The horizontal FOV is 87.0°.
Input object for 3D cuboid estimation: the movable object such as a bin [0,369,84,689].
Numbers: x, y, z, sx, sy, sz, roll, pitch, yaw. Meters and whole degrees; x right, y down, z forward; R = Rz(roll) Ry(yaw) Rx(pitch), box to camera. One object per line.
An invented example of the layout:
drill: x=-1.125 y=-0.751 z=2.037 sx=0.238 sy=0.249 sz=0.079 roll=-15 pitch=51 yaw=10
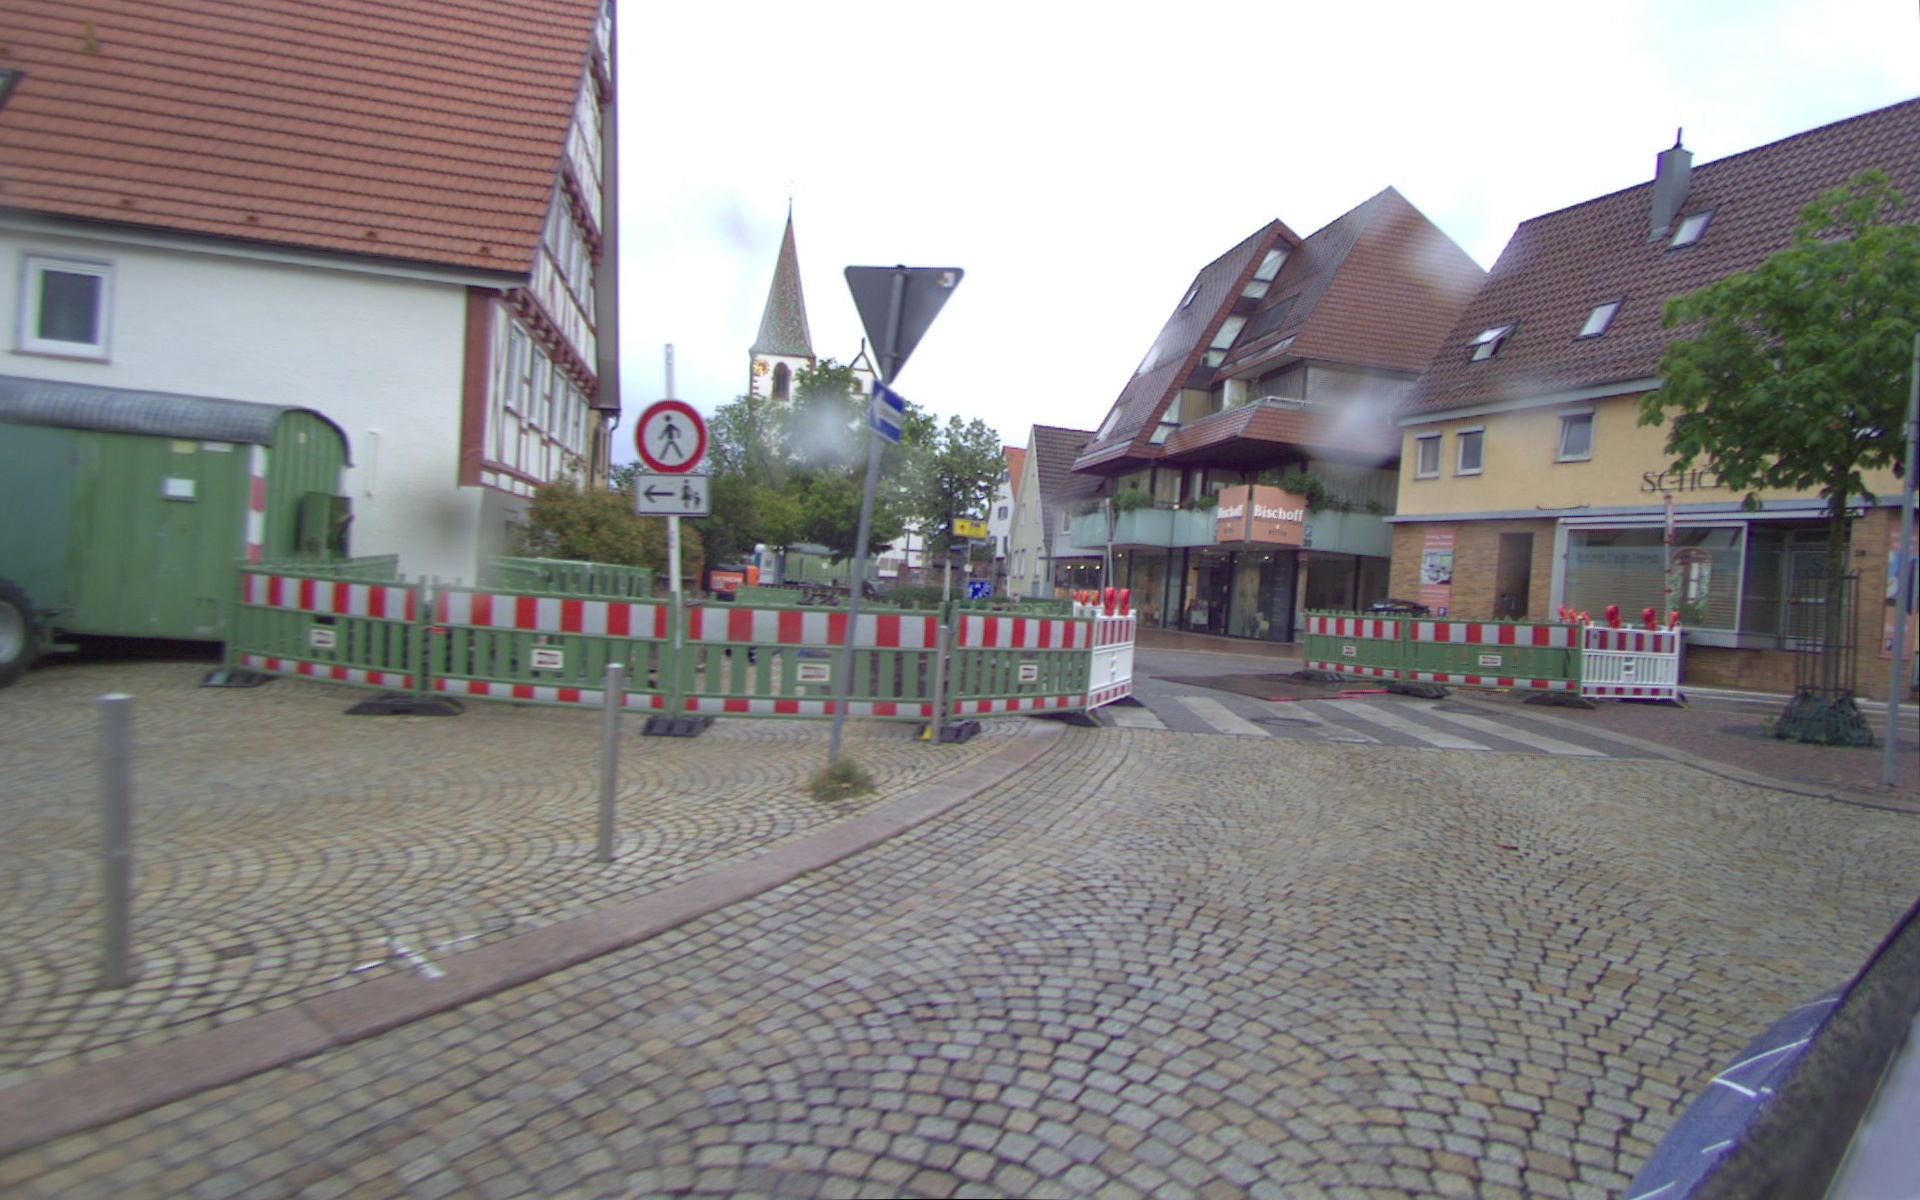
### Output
movable object such as a bin: x=-8.397 y=-0.553 z=7.082 sx=1.871 sy=2.586 sz=4.302 roll=1 pitch=2 yaw=-18

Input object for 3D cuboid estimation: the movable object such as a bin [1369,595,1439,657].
movable object such as a bin: x=11.494 y=0.657 z=26.216 sx=1.046 sy=1.531 sz=1.245 roll=1 pitch=1 yaw=-23

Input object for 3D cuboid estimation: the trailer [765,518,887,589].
trailer: x=-6.709 y=-2.263 z=51.124 sx=5.689 sy=2.985 sz=2.000 roll=5 pitch=-2 yaw=-36

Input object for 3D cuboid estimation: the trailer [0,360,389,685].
trailer: x=-8.998 y=-0.774 z=10.635 sx=4.535 sy=2.872 sz=2.497 roll=4 pitch=-1 yaw=-14

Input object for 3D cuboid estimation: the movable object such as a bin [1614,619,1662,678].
movable object such as a bin: x=13.796 y=0.974 z=20.599 sx=0.507 sy=1.142 sz=0.581 roll=0 pitch=2 yaw=-27

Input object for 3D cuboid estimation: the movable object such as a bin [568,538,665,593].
movable object such as a bin: x=-15.096 y=-1.482 z=44.422 sx=3.344 sy=2.039 sz=3.483 roll=5 pitch=-1 yaw=-29

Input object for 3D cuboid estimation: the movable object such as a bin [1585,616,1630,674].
movable object such as a bin: x=13.522 y=0.935 z=21.144 sx=0.507 sy=1.147 sz=0.581 roll=0 pitch=3 yaw=-27

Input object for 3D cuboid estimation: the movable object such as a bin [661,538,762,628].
movable object such as a bin: x=-6.356 y=-0.408 z=25.584 sx=1.871 sy=2.039 sz=4.008 roll=2 pitch=0 yaw=-22

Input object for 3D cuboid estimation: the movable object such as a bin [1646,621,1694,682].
movable object such as a bin: x=14.065 y=1.003 z=20.052 sx=0.508 sy=1.146 sz=0.581 roll=1 pitch=2 yaw=-27
